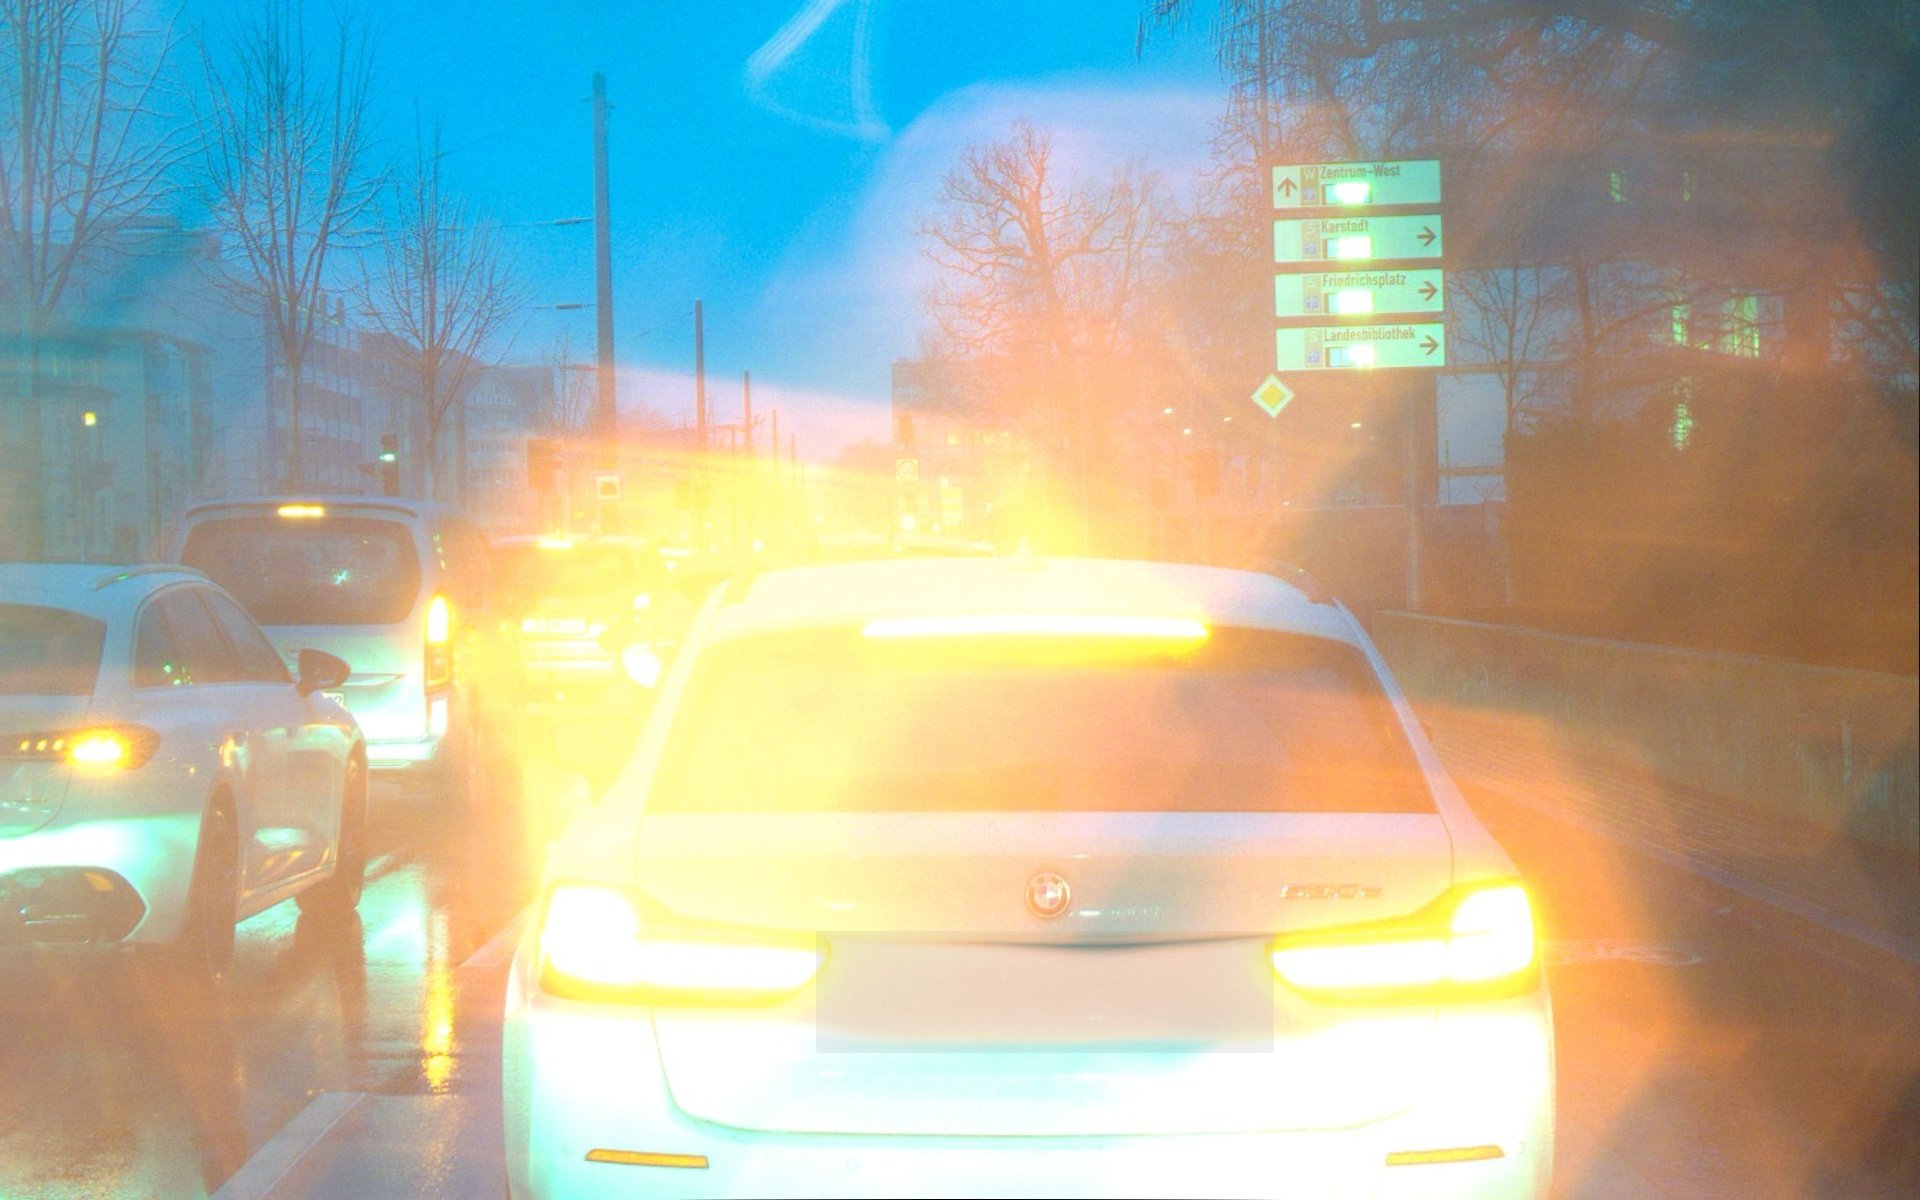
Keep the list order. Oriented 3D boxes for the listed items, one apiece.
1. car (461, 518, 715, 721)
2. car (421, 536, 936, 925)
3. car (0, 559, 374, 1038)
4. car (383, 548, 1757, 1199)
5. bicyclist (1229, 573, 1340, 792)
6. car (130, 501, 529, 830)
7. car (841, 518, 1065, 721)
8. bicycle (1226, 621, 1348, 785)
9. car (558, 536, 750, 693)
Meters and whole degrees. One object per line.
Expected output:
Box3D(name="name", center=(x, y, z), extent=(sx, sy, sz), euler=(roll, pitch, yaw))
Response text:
Box3D(name="car", center=(-3.153, 0.119, 29.836), extent=(1.806, 1.640, 4.000), euler=(0, 1, 0))
Box3D(name="car", center=(-1.085, 0.455, 15.067), extent=(1.936, 1.452, 4.164), euler=(0, 1, -1))
Box3D(name="car", center=(-3.368, 0.558, 12.421), extent=(1.846, 1.400, 4.614), euler=(0, 1, -2))
Box3D(name="car", center=(0.141, 0.660, 7.097), extent=(1.999, 1.503, 4.164), euler=(0, 1, -1))
Box3D(name="bicyclist", center=(2.123, 0.527, 22.571), extent=(0.645, 1.384, 0.890), euler=(-1, 1, 2))
Box3D(name="car", center=(-3.603, 0.319, 20.376), extent=(1.793, 1.730, 4.538), euler=(0, 1, -4))
Box3D(name="car", center=(-0.077, 0.121, 29.780), extent=(1.806, 1.640, 4.000), euler=(0, 1, 0))
Box3D(name="bicycle", center=(2.126, 0.652, 22.555), extent=(0.645, 0.963, 2.046), euler=(-1, 1, 2))
Box3D(name="car", center=(-3.332, 0.118, 38.117), extent=(1.806, 1.640, 4.000), euler=(0, 1, 0))
